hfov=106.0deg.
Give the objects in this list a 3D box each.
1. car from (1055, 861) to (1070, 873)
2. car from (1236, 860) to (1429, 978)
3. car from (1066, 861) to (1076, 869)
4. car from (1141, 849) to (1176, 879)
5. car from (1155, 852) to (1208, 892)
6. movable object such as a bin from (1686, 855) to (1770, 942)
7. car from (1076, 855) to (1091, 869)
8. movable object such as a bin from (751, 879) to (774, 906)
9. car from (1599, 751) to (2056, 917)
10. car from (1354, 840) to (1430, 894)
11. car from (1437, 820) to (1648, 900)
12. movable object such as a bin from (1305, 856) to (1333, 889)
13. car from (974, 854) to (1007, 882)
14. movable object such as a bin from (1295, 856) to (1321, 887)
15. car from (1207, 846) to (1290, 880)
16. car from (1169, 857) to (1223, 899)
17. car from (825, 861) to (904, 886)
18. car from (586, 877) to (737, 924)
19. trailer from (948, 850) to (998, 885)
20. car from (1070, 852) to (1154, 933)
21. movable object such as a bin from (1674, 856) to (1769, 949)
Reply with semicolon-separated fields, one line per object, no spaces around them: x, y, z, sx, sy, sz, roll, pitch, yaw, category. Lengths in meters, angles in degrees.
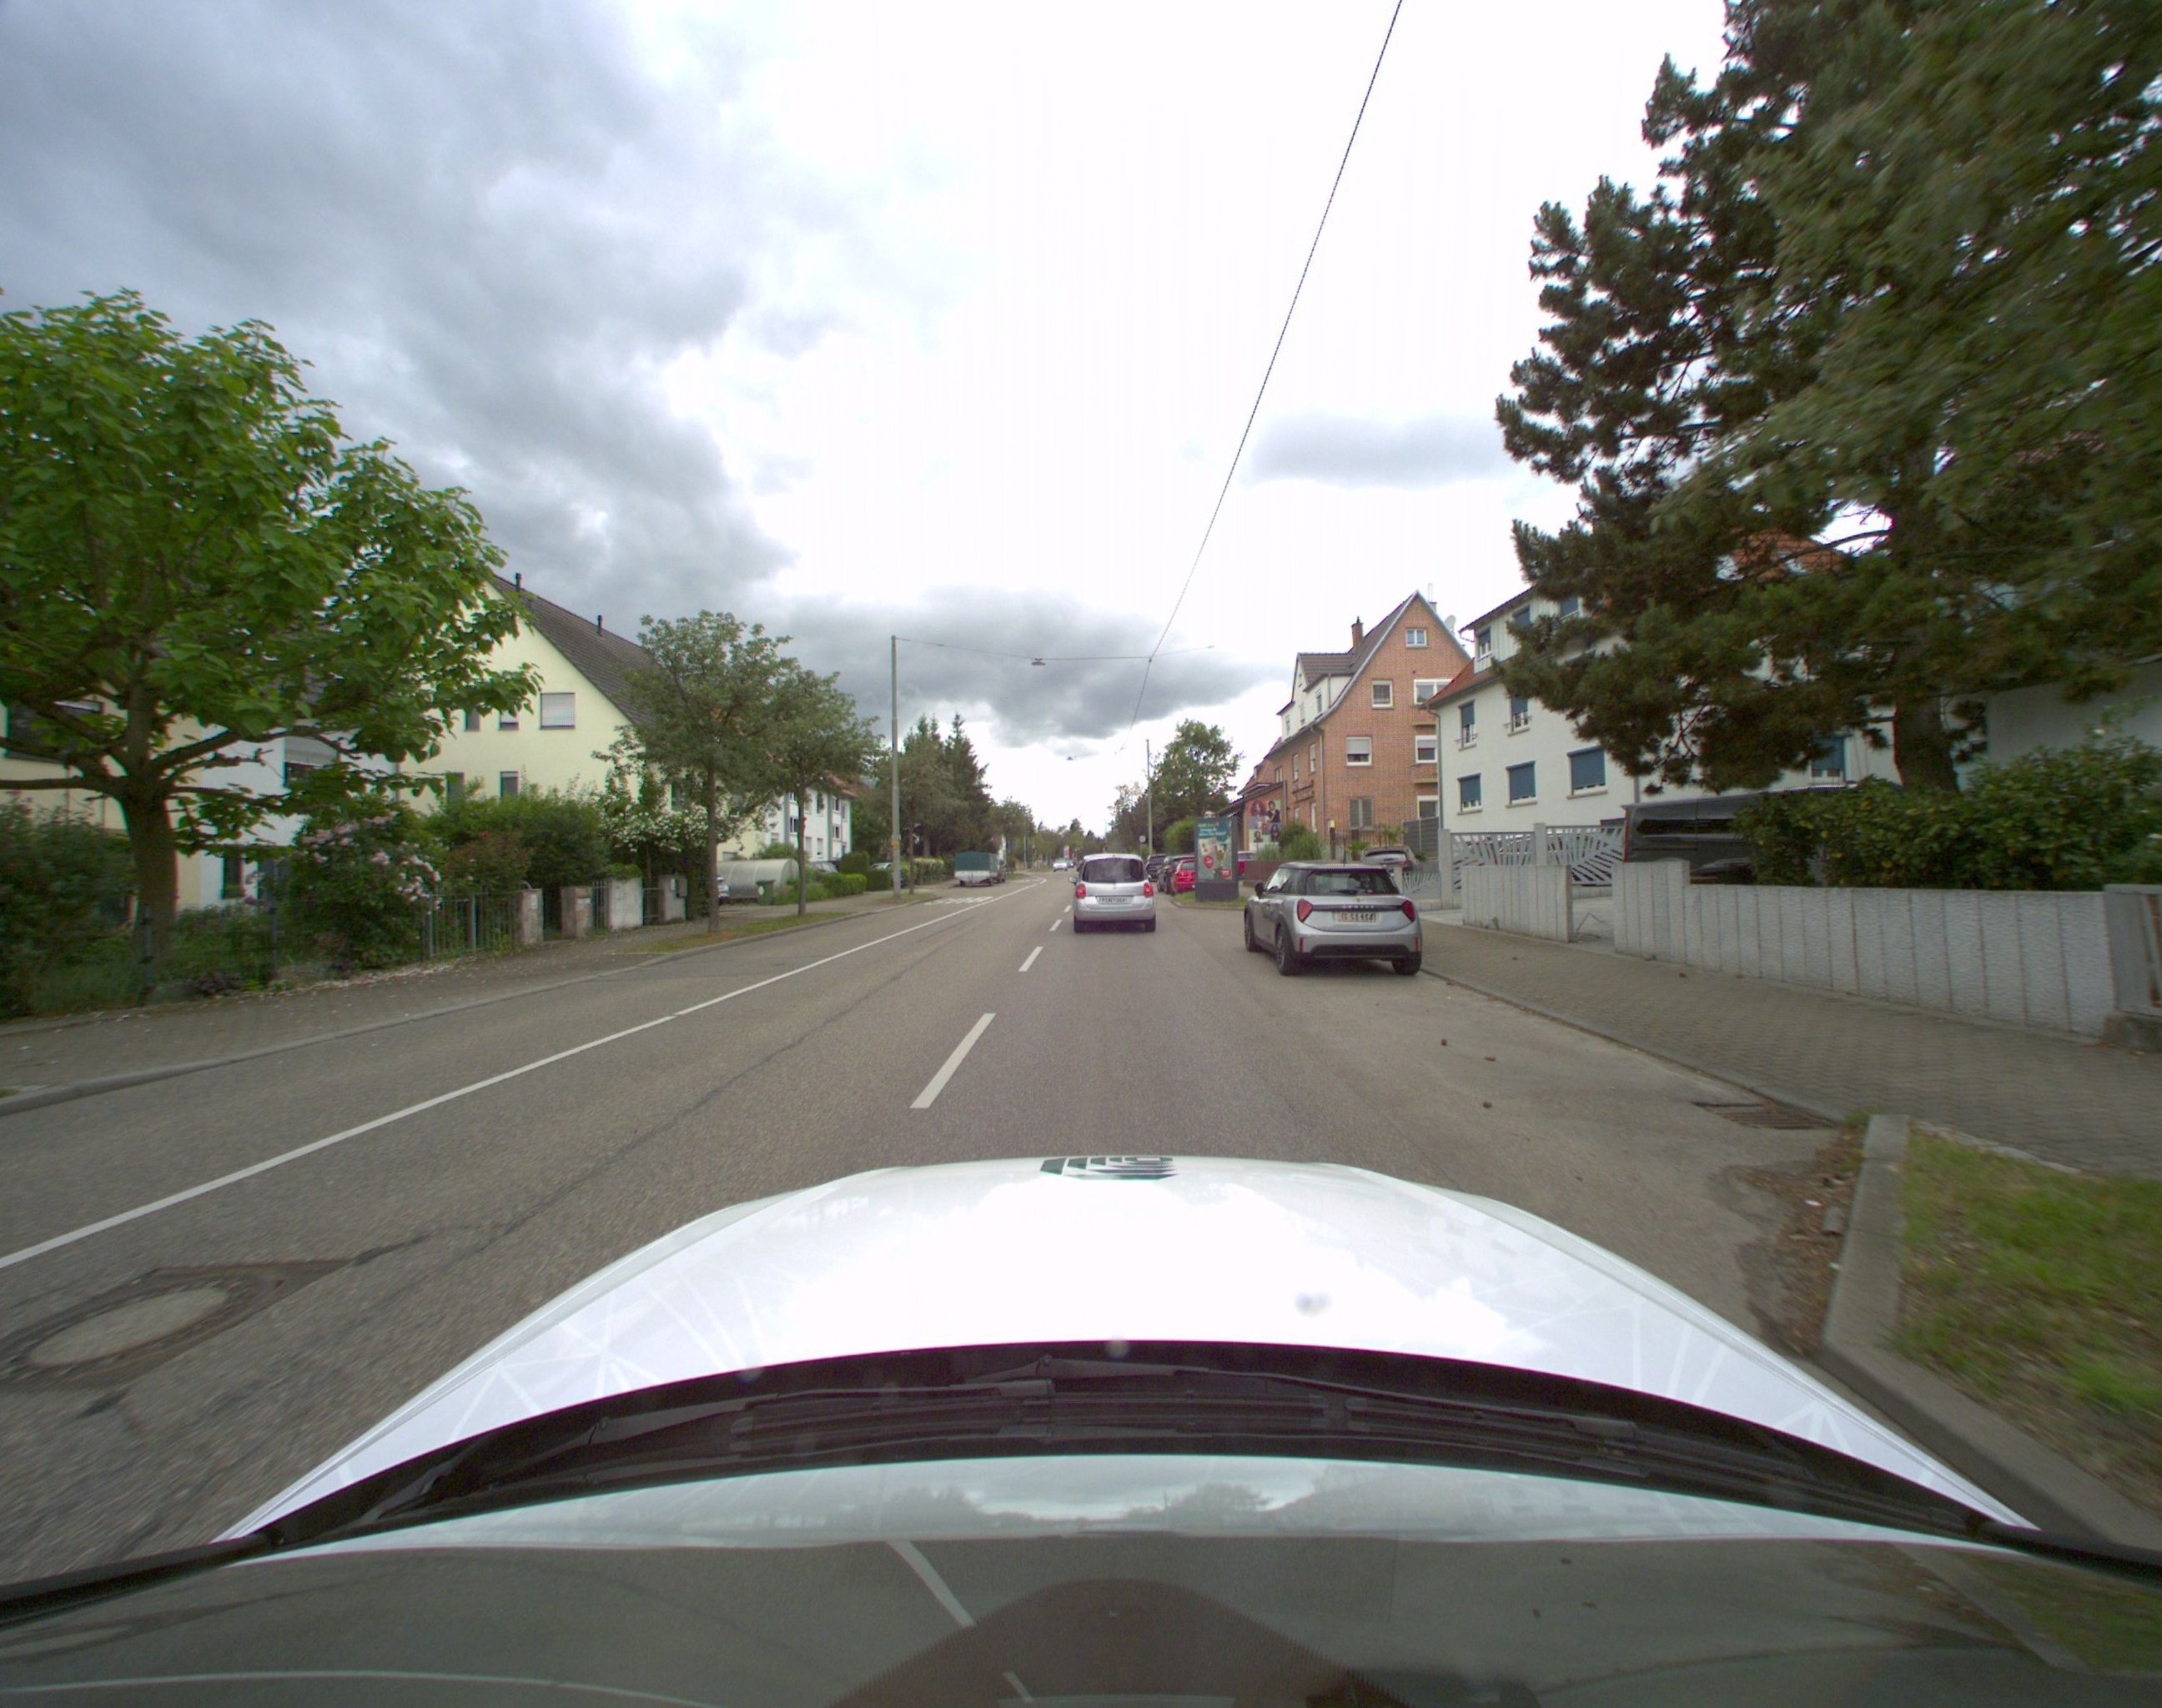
-2.499;1.730;109.794;1.902;1.618;3.994;-1;-1;-4;car
3.362;0.812;11.654;1.644;1.382;4.001;-1;-1;2;car
-1.921;2.125;157.275;1.717;1.411;3.997;0;-1;-2;car
4.896;0.654;51.747;1.806;1.743;4.000;-2;-1;1;car
4.231;0.739;34.803;1.658;1.564;4.096;-1;0;-1;car
8.506;0.587;10.710;0.596;1.056;0.608;-5;-2;-32;movable object such as a bin
0.297;0.982;103.204;1.822;1.675;3.575;-1;-1;1;car
-11.137;1.351;28.478;0.571;0.902;0.549;-3;-2;45;movable object such as a bin
11.066;-0.168;12.595;1.982;2.013;4.684;-5;-1;-25;car
9.831;0.360;25.540;1.802;1.380;4.506;-6;-1;25;car
11.320;0.161;20.114;4.256;1.506;1.691;-5;-2;-7;car
8.342;0.635;28.599;0.773;1.104;0.691;-2;0;0;movable object such as a bin
-6.448;1.024;58.454;1.882;1.922;4.560;0;-1;0;car
8.388;0.629;30.095;0.773;1.104;0.691;-2;0;0;movable object such as a bin
9.054;0.481;44.267;3.984;1.496;1.805;-4;0;-8;car
4.245;0.848;30.497;1.655;1.393;3.671;-2;0;3;car
-11.664;1.074;44.087;3.985;1.338;1.573;0;-2;-9;car
-13.879;1.514;27.143;4.060;1.286;1.752;-2;-1;-6;car
-6.608;0.852;50.666;2.305;2.087;5.871;0;-1;0;trailer
0.671;0.776;17.671;1.623;1.557;4.001;0;-1;2;car
7.925;0.594;10.095;0.594;1.056;0.611;-6;-2;-20;movable object such as a bin
